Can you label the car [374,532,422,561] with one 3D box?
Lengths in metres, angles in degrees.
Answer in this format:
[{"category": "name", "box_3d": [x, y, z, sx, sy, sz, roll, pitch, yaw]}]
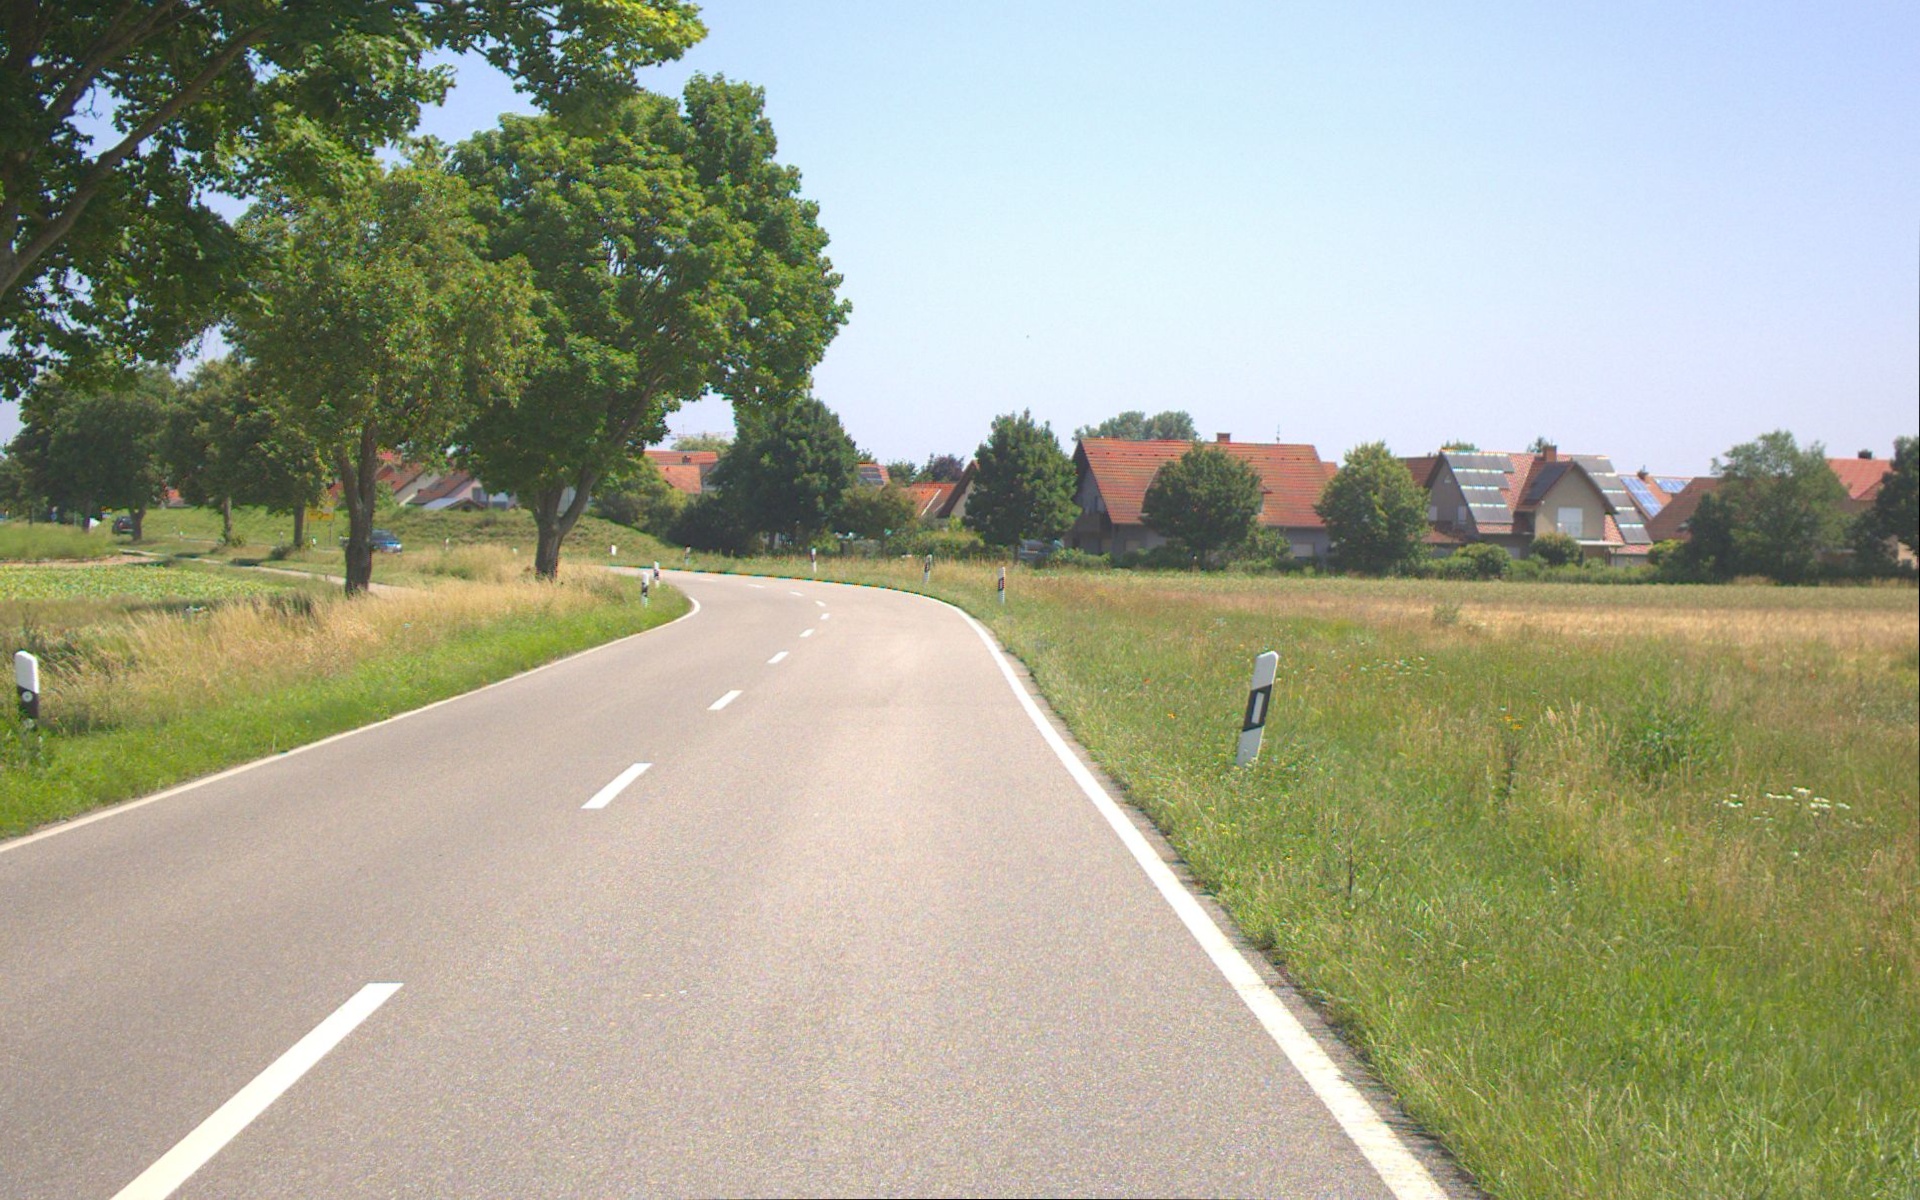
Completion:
[{"category": "car", "box_3d": [-29.444, -2.792, 180.069, 1.643, 1.424, 4.181, -2, 2, -20]}]
